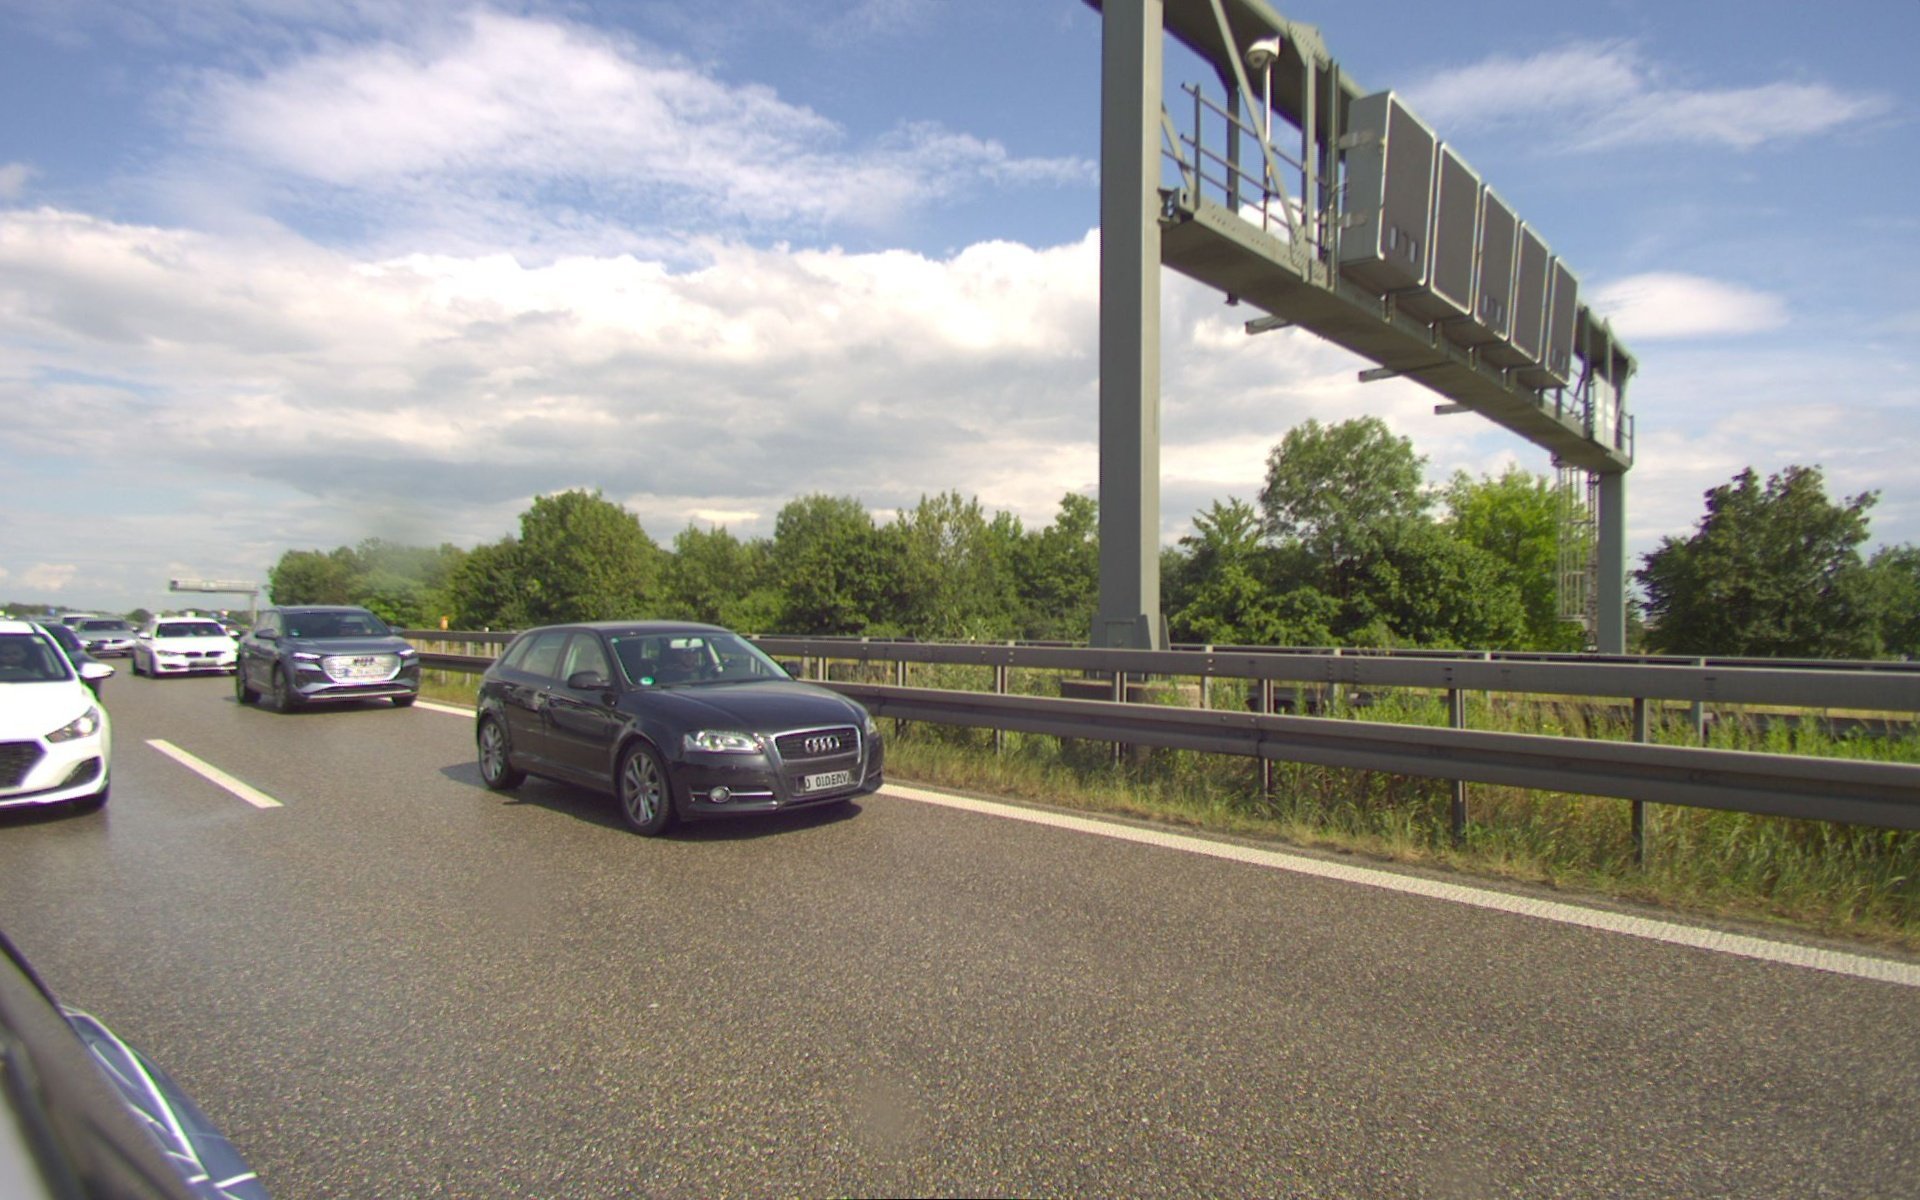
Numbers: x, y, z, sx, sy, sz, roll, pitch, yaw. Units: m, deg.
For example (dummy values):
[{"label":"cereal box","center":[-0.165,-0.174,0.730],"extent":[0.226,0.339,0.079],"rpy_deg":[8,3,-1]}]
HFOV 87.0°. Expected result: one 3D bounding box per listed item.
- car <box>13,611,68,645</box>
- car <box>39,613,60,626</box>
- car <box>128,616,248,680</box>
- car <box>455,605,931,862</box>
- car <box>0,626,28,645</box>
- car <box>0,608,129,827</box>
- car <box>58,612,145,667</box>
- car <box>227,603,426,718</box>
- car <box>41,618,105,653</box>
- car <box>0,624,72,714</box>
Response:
[{"label":"car","center":[-51.189,1.524,56.340],"extent":[4.001,1.710,1.971],"rpy_deg":[0,1,44]},{"label":"car","center":[-130.178,2.775,144.740],"extent":[4.463,1.792,1.971],"rpy_deg":[-1,-1,45]},{"label":"car","center":[-19.118,1.124,25.002],"extent":[4.001,1.389,1.747],"rpy_deg":[0,-1,44]},{"label":"car","center":[-2.276,0.787,7.864],"extent":[1.746,1.436,4.141],"rpy_deg":[-1,0,-45]},{"label":"car","center":[-94.306,3.472,100.773],"extent":[4.001,1.710,1.971],"rpy_deg":[0,1,44]},{"label":"car","center":[-8.236,0.824,8.172],"extent":[4.549,1.466,1.860],"rpy_deg":[-1,-1,44]},{"label":"car","center":[-30.906,1.365,36.414],"extent":[4.001,1.761,1.971],"rpy_deg":[0,1,44]},{"label":"car","center":[-10.339,0.880,16.384],"extent":[1.849,1.618,4.231],"rpy_deg":[0,-1,-45]},{"label":"car","center":[-42.275,1.650,48.211],"extent":[4.001,1.490,1.971],"rpy_deg":[0,1,44]},{"label":"car","center":[-16.131,1.084,16.830],"extent":[4.288,1.348,1.705],"rpy_deg":[-1,-1,44]}]
